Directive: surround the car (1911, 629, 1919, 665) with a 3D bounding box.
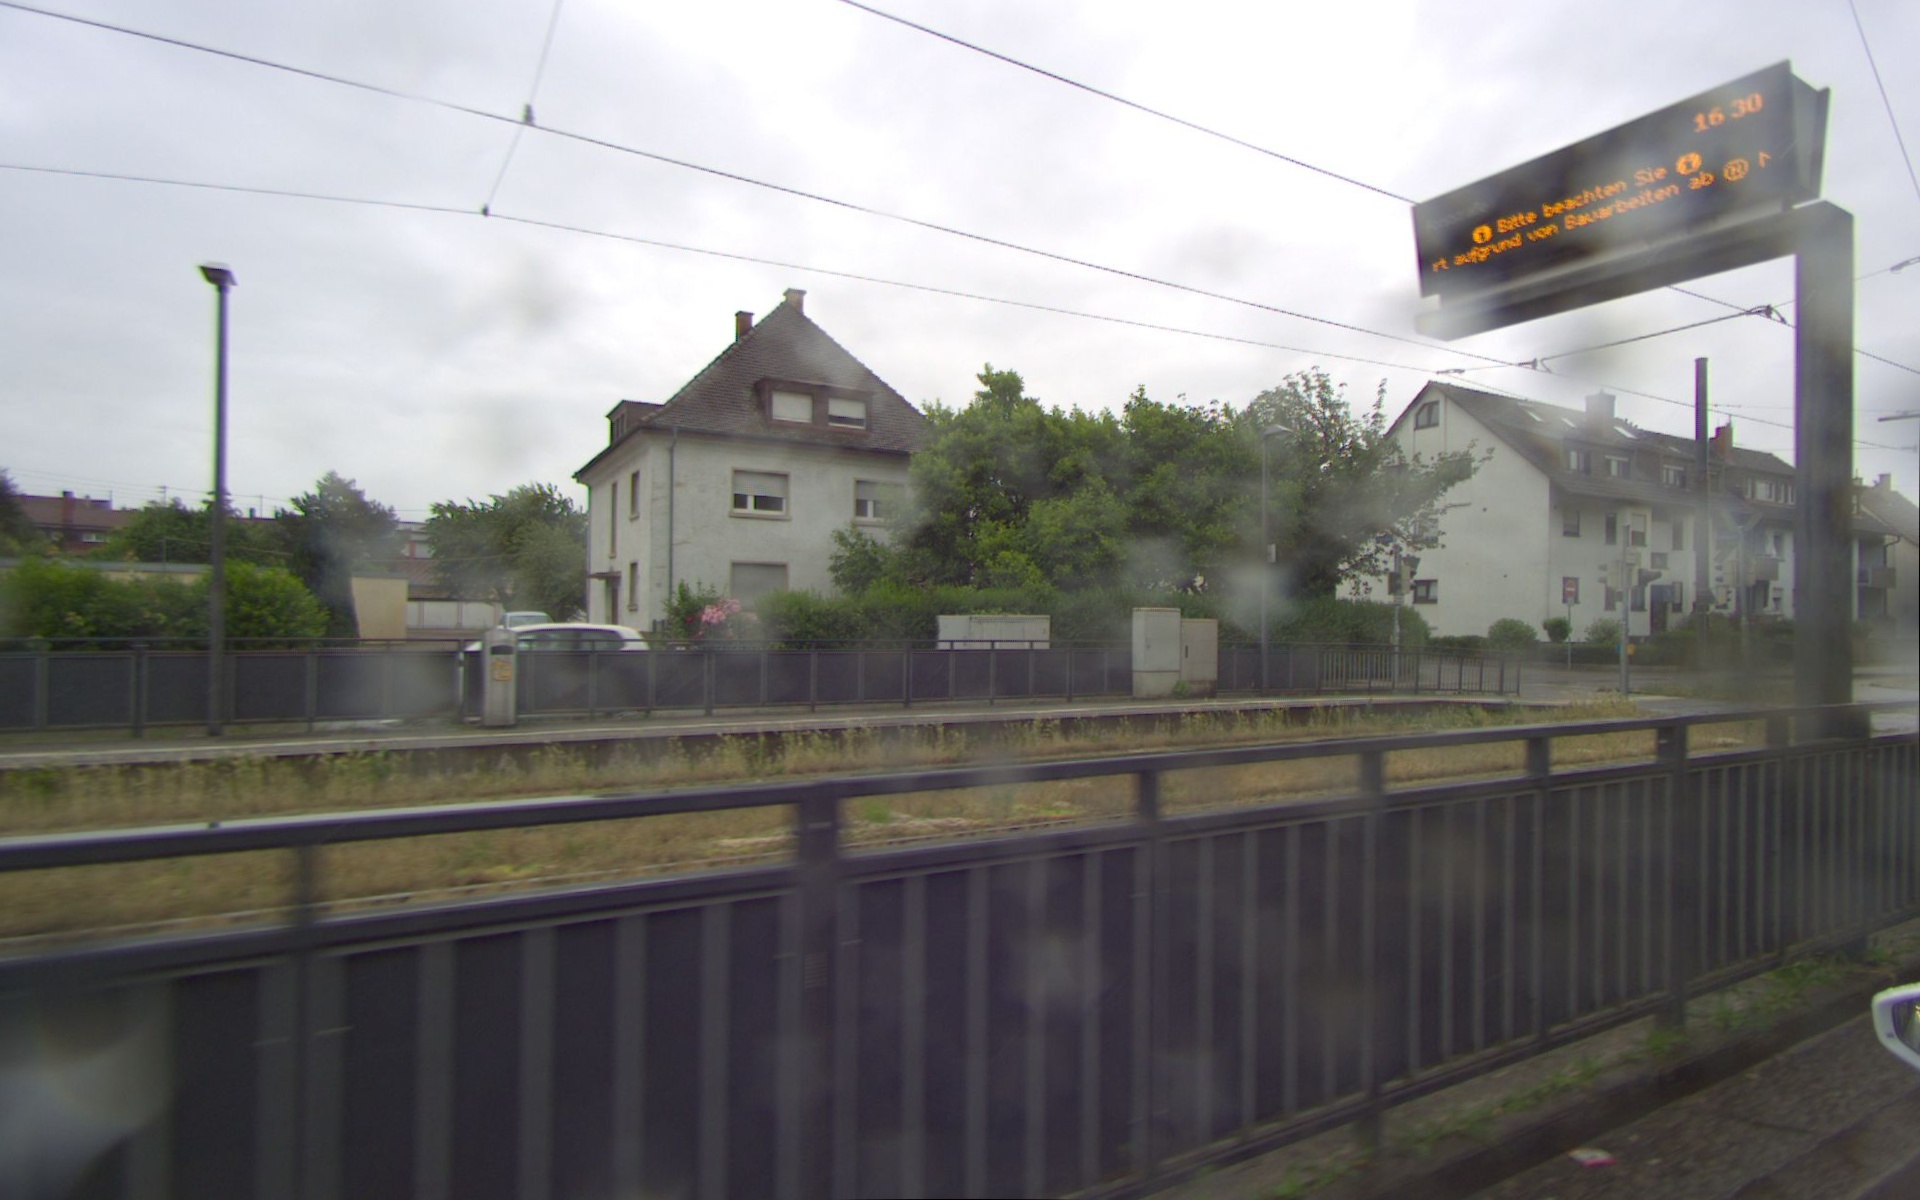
[{"bbox_3d":[41.982,2.019,42.050,3.949,1.506,1.921,2,-1,-27],"label":"car"}]

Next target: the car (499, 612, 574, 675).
[{"bbox_3d":[-13.708,1.360,32.410,1.974,1.840,3.973,2,-1,-26],"label":"car"}]

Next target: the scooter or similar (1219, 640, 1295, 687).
[{"bbox_3d":[7.236,1.547,24.451,1.844,1.086,0.660,2,-1,-29],"label":"scooter or similar"}]

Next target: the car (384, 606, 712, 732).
[{"bbox_3d":[-5.611,0.899,13.839,3.952,1.513,1.626,2,-1,-29],"label":"car"}]
